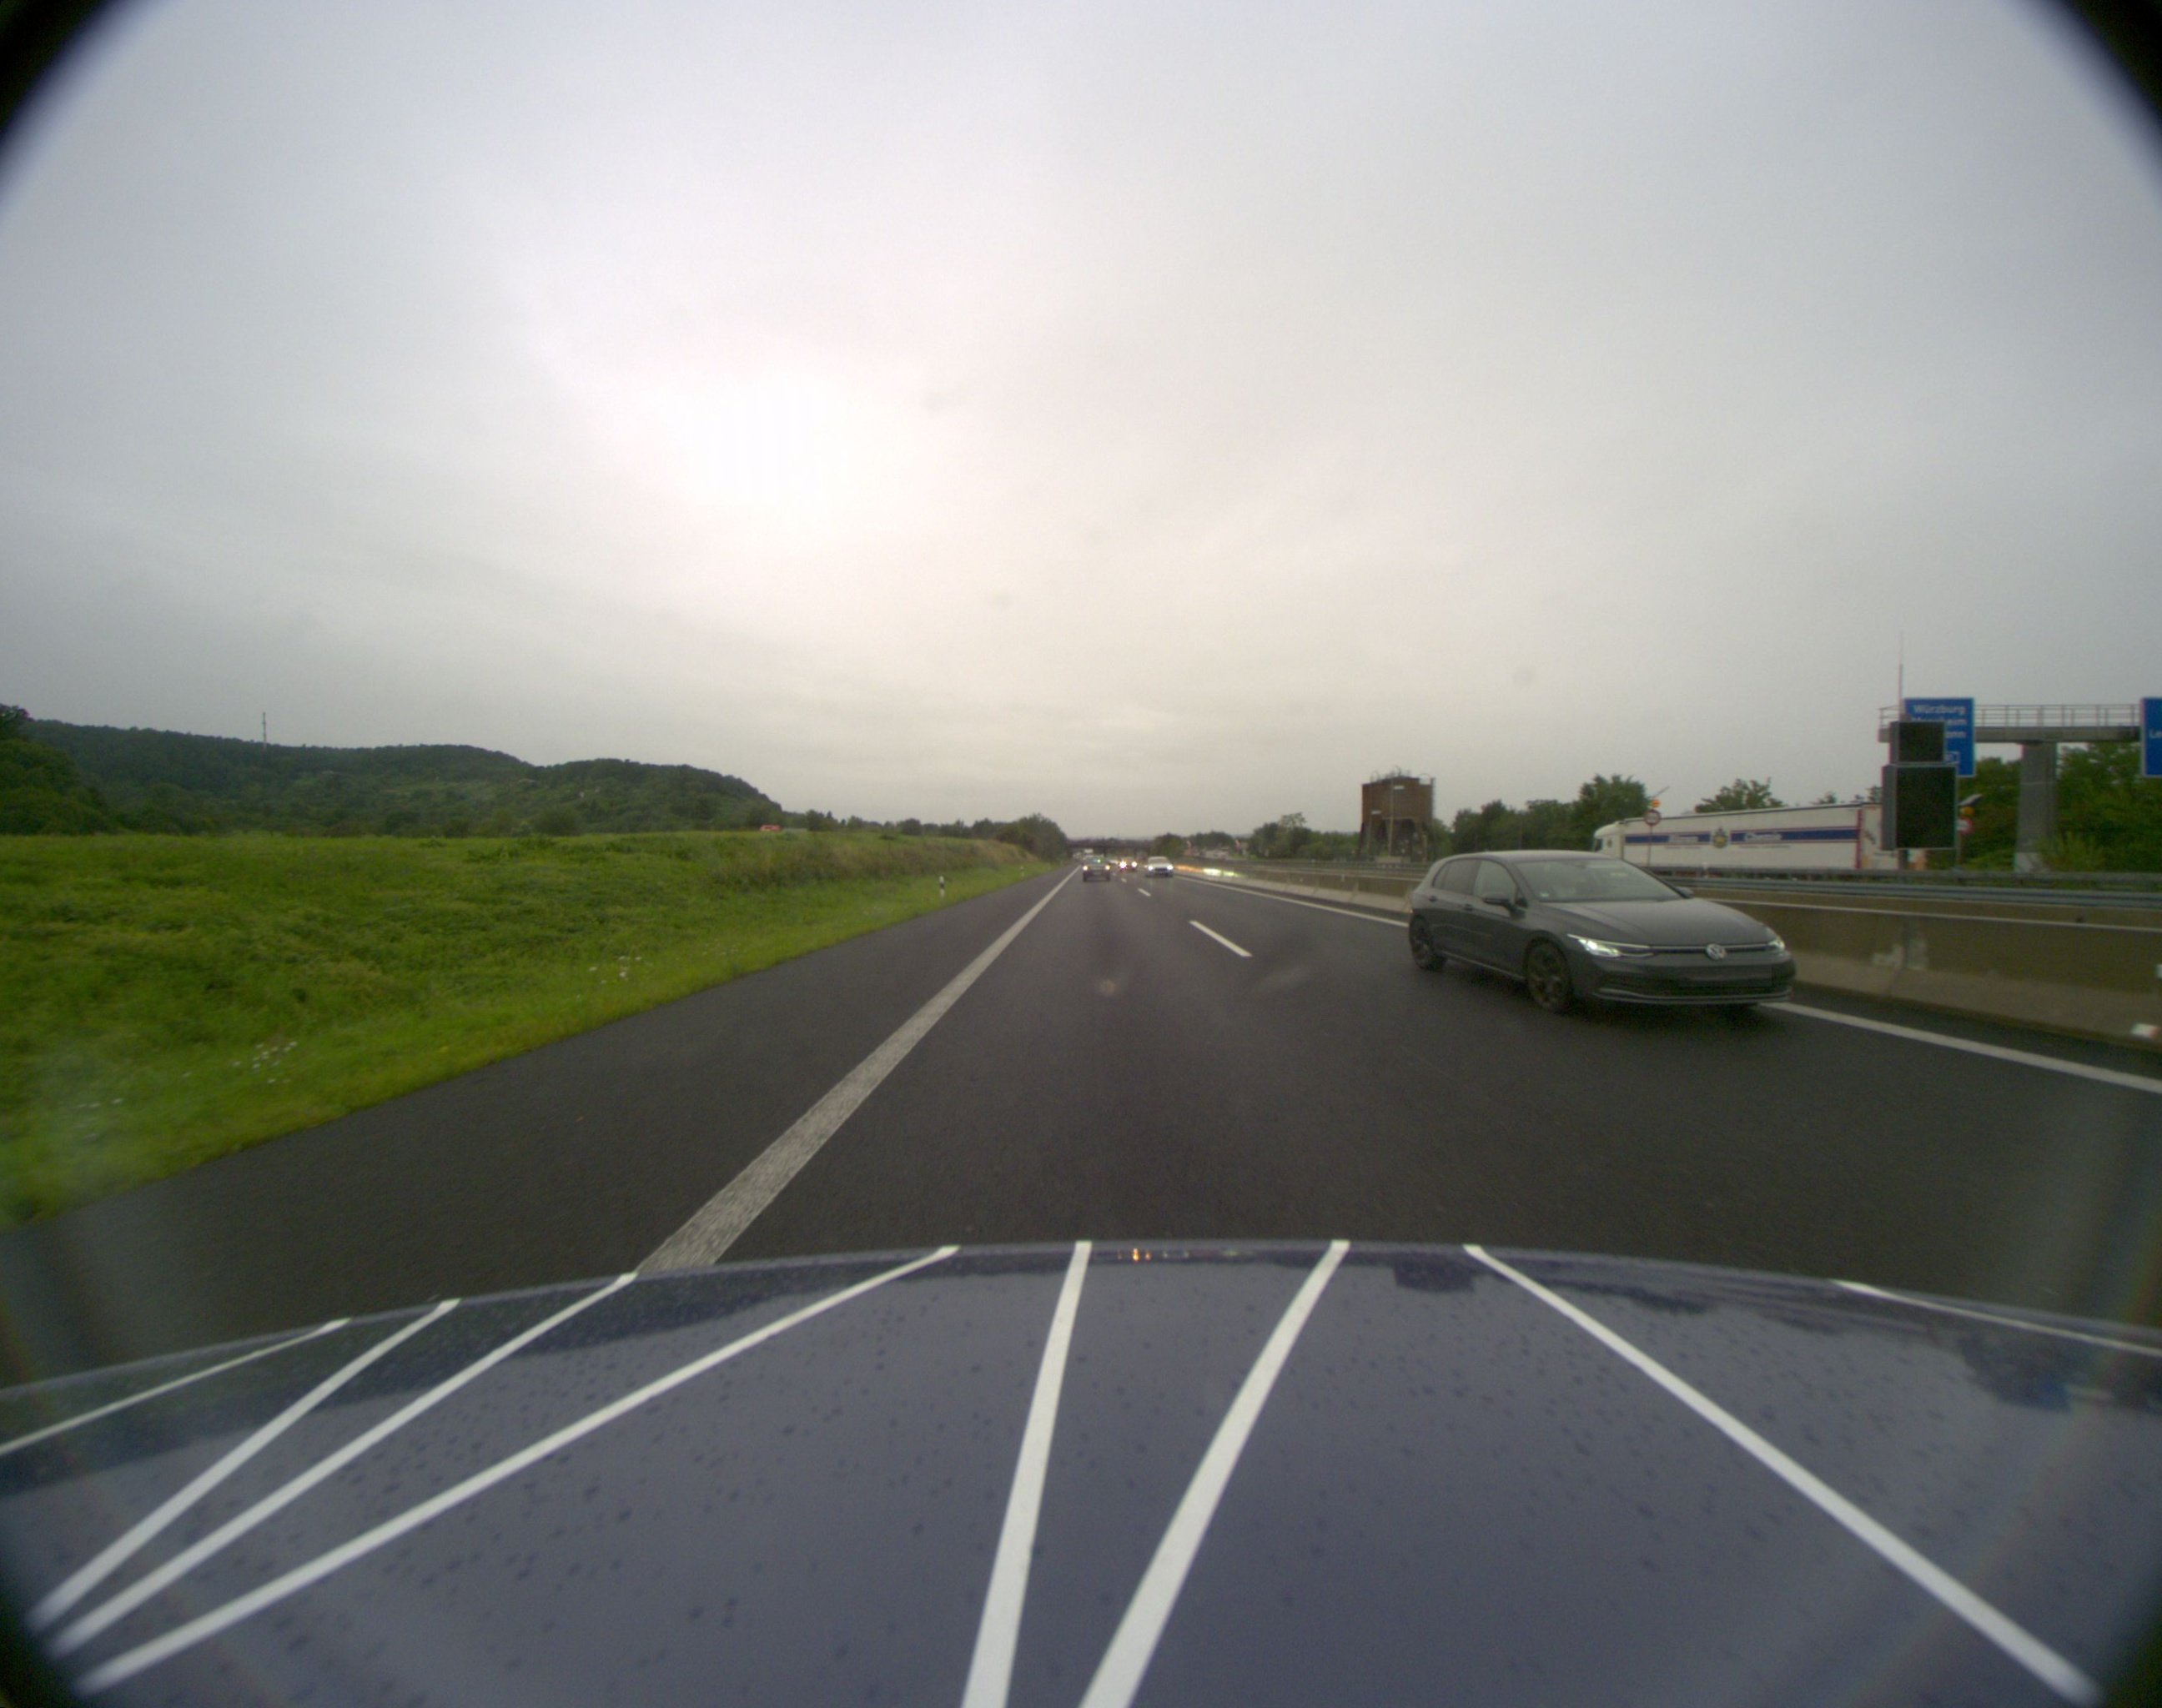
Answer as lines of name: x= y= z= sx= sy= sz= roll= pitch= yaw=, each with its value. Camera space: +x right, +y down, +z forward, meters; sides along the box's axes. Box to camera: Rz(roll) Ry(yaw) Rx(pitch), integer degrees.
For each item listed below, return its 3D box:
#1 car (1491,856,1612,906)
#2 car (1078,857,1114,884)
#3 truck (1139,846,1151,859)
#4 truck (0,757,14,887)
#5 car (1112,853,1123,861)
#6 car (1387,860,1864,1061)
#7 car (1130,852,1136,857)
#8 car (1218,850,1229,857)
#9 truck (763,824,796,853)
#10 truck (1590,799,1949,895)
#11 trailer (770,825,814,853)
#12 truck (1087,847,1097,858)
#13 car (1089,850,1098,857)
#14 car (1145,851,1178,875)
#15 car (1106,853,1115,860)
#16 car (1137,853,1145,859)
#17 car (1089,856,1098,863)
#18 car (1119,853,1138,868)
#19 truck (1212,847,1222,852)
car: x=17.432 y=0.951 z=28.448 sx=1.998 sy=1.652 sz=4.314 roll=-1 pitch=0 yaw=3
car: x=1.027 y=1.027 z=49.867 sx=2.242 sy=1.565 sz=4.817 roll=-2 pitch=0 yaw=2
truck: x=20.579 y=-0.387 z=245.369 sx=2.976 sy=3.688 sz=11.913 roll=-3 pitch=-1 yaw=1
truck: x=-38.689 y=-1.036 z=18.014 sx=3.832 sy=4.514 sz=16.876 roll=-1 pitch=0 yaw=-5
car: x=7.195 y=0.623 z=148.746 sx=1.942 sy=1.341 sz=4.000 roll=-4 pitch=-1 yaw=1
car: x=4.967 y=0.820 z=7.891 sx=1.835 sy=1.417 sz=4.368 roll=-2 pitch=0 yaw=1
car: x=16.040 y=0.152 z=234.138 sx=1.717 sy=1.586 sz=4.000 roll=-2 pitch=0 yaw=0
car: x=37.288 y=-0.091 z=199.058 sx=1.998 sy=1.751 sz=4.505 roll=-1 pitch=0 yaw=1
truck: x=-43.646 y=-2.147 z=110.071 sx=2.515 sy=3.963 sz=5.926 roll=-2 pitch=1 yaw=-3
truck: x=33.338 y=-0.299 z=39.065 sx=3.185 sy=3.786 sz=17.135 roll=1 pitch=0 yaw=1
trailer: x=-43.957 y=-2.161 z=116.091 sx=2.497 sy=3.961 sz=12.400 roll=-3 pitch=0 yaw=-3
truck: x=3.176 y=-0.503 z=224.647 sx=2.728 sy=3.098 sz=7.960 roll=-3 pitch=0 yaw=1
car: x=2.861 y=-0.104 z=173.085 sx=1.942 sy=1.341 sz=4.000 roll=-3 pitch=0 yaw=1
car: x=5.853 y=0.619 z=55.698 sx=1.998 sy=1.581 sz=4.817 roll=-2 pitch=0 yaw=2
car: x=7.177 y=0.698 z=183.099 sx=1.998 sy=1.565 sz=4.000 roll=-2 pitch=0 yaw=1
car: x=15.134 y=0.435 z=191.760 sx=1.802 sy=1.499 sz=4.000 roll=0 pitch=0 yaw=0
car: x=2.678 y=1.173 z=167.371 sx=1.942 sy=1.341 sz=4.000 roll=-3 pitch=0 yaw=1
car: x=4.882 y=0.685 z=78.723 sx=1.835 sy=1.416 sz=4.368 roll=-2 pitch=0 yaw=2
truck: x=42.685 y=-1.386 z=237.788 sx=1.999 sy=1.635 sz=5.405 roll=-3 pitch=0 yaw=-1
